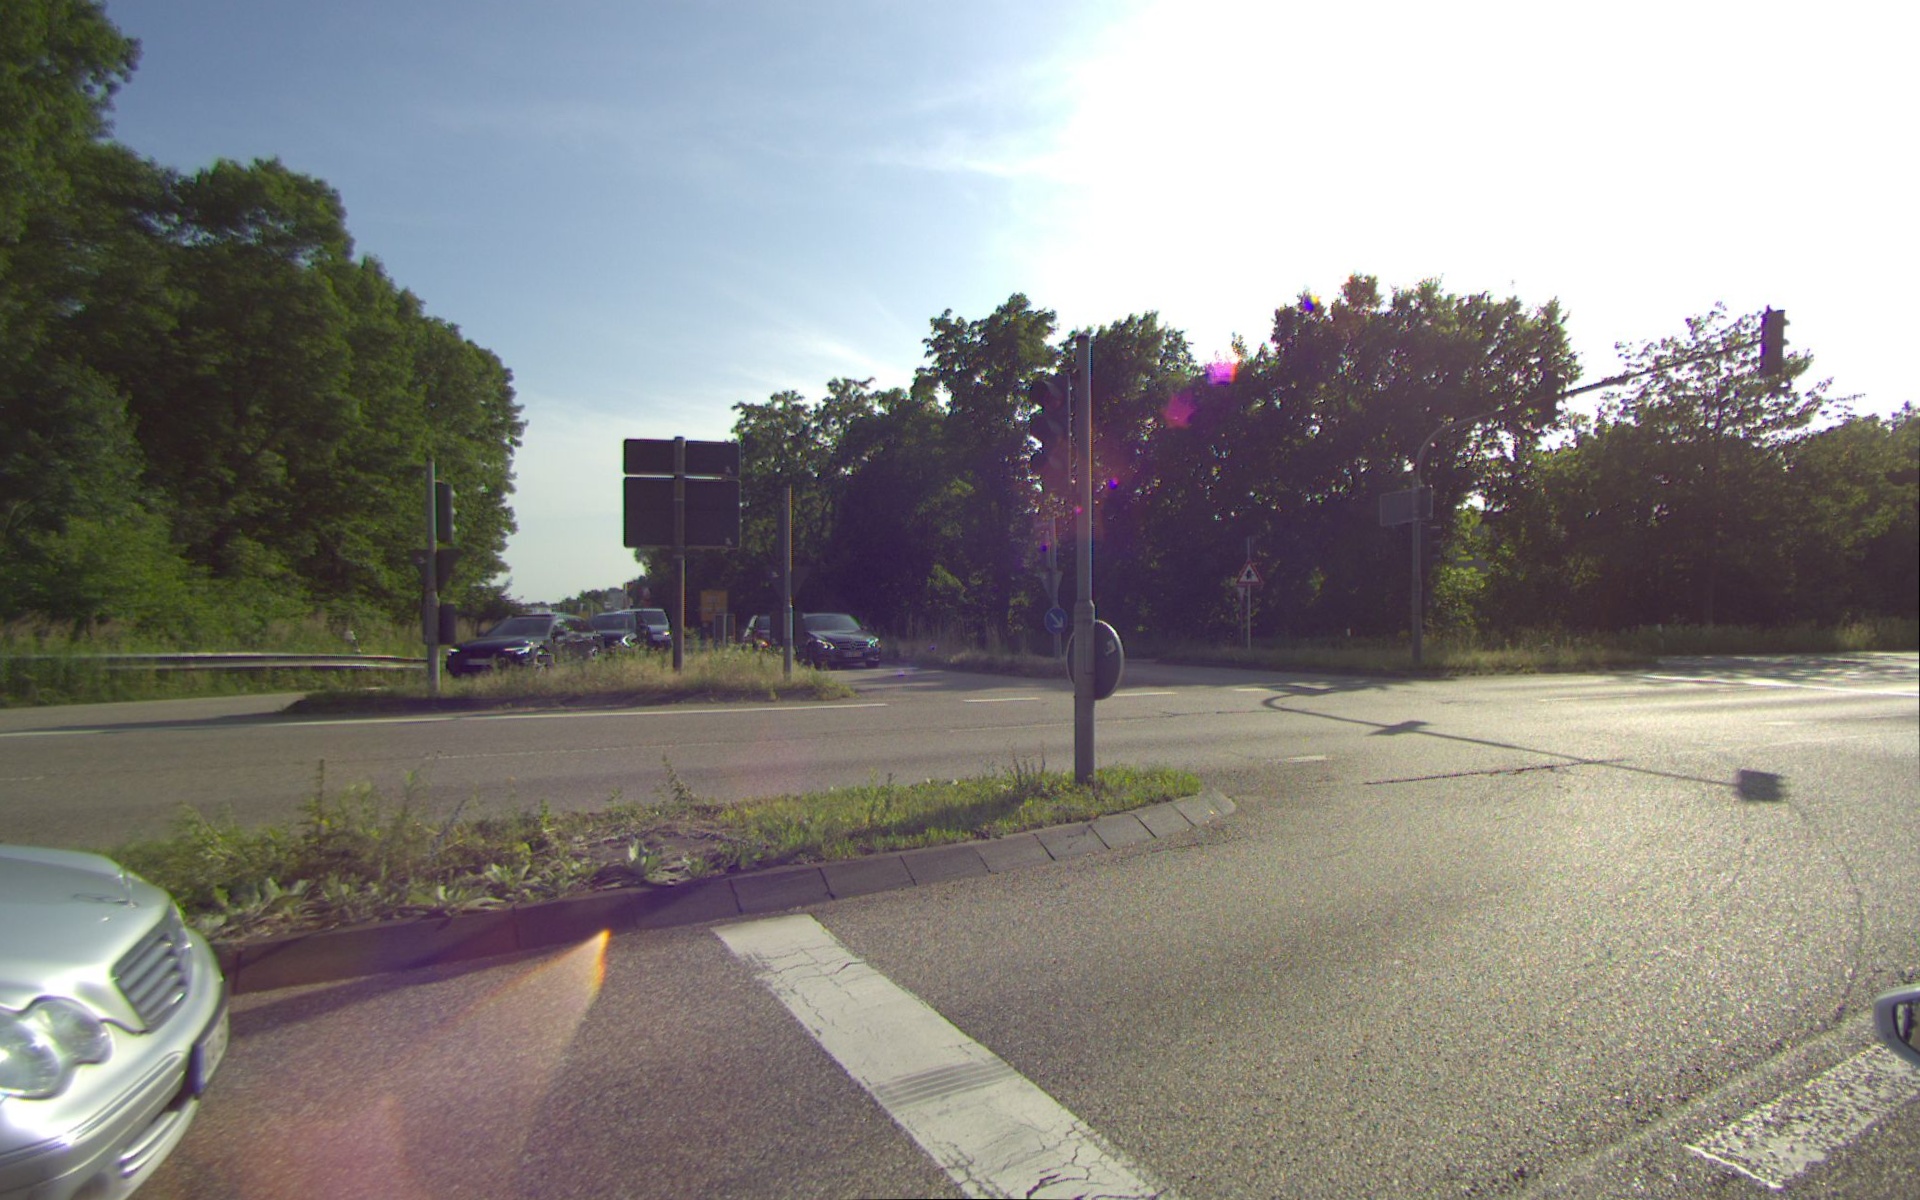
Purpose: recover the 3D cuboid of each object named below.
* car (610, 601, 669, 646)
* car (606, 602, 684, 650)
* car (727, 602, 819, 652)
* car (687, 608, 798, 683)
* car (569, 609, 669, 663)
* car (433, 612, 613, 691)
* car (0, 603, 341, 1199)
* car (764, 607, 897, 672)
[{"bbox_3d":[-13.753,0.960,42.928,2.159,1.750,4.630,1,0,-21],"label":"car"},{"bbox_3d":[-11.469,0.893,36.353,2.410,1.510,5.046,2,0,-21],"label":"car"},{"bbox_3d":[-6.476,0.869,34.380,2.175,1.510,4.963,2,0,-21],"label":"car"},{"bbox_3d":[-5.245,1.019,23.783,1.970,1.510,4.401,1,0,-20],"label":"car"},{"bbox_3d":[-10.157,1.017,30.337,2.015,1.361,5.196,2,0,-10],"label":"car"},{"bbox_3d":[-9.693,1.074,22.749,1.960,1.510,4.563,2,0,1],"label":"car"},{"bbox_3d":[-3.762,0.703,1.473,4.744,1.439,1.727,2,-2,-30],"label":"car"},{"bbox_3d":[-3.589,1.008,27.142,1.977,1.510,4.385,1,0,-31],"label":"car"}]
